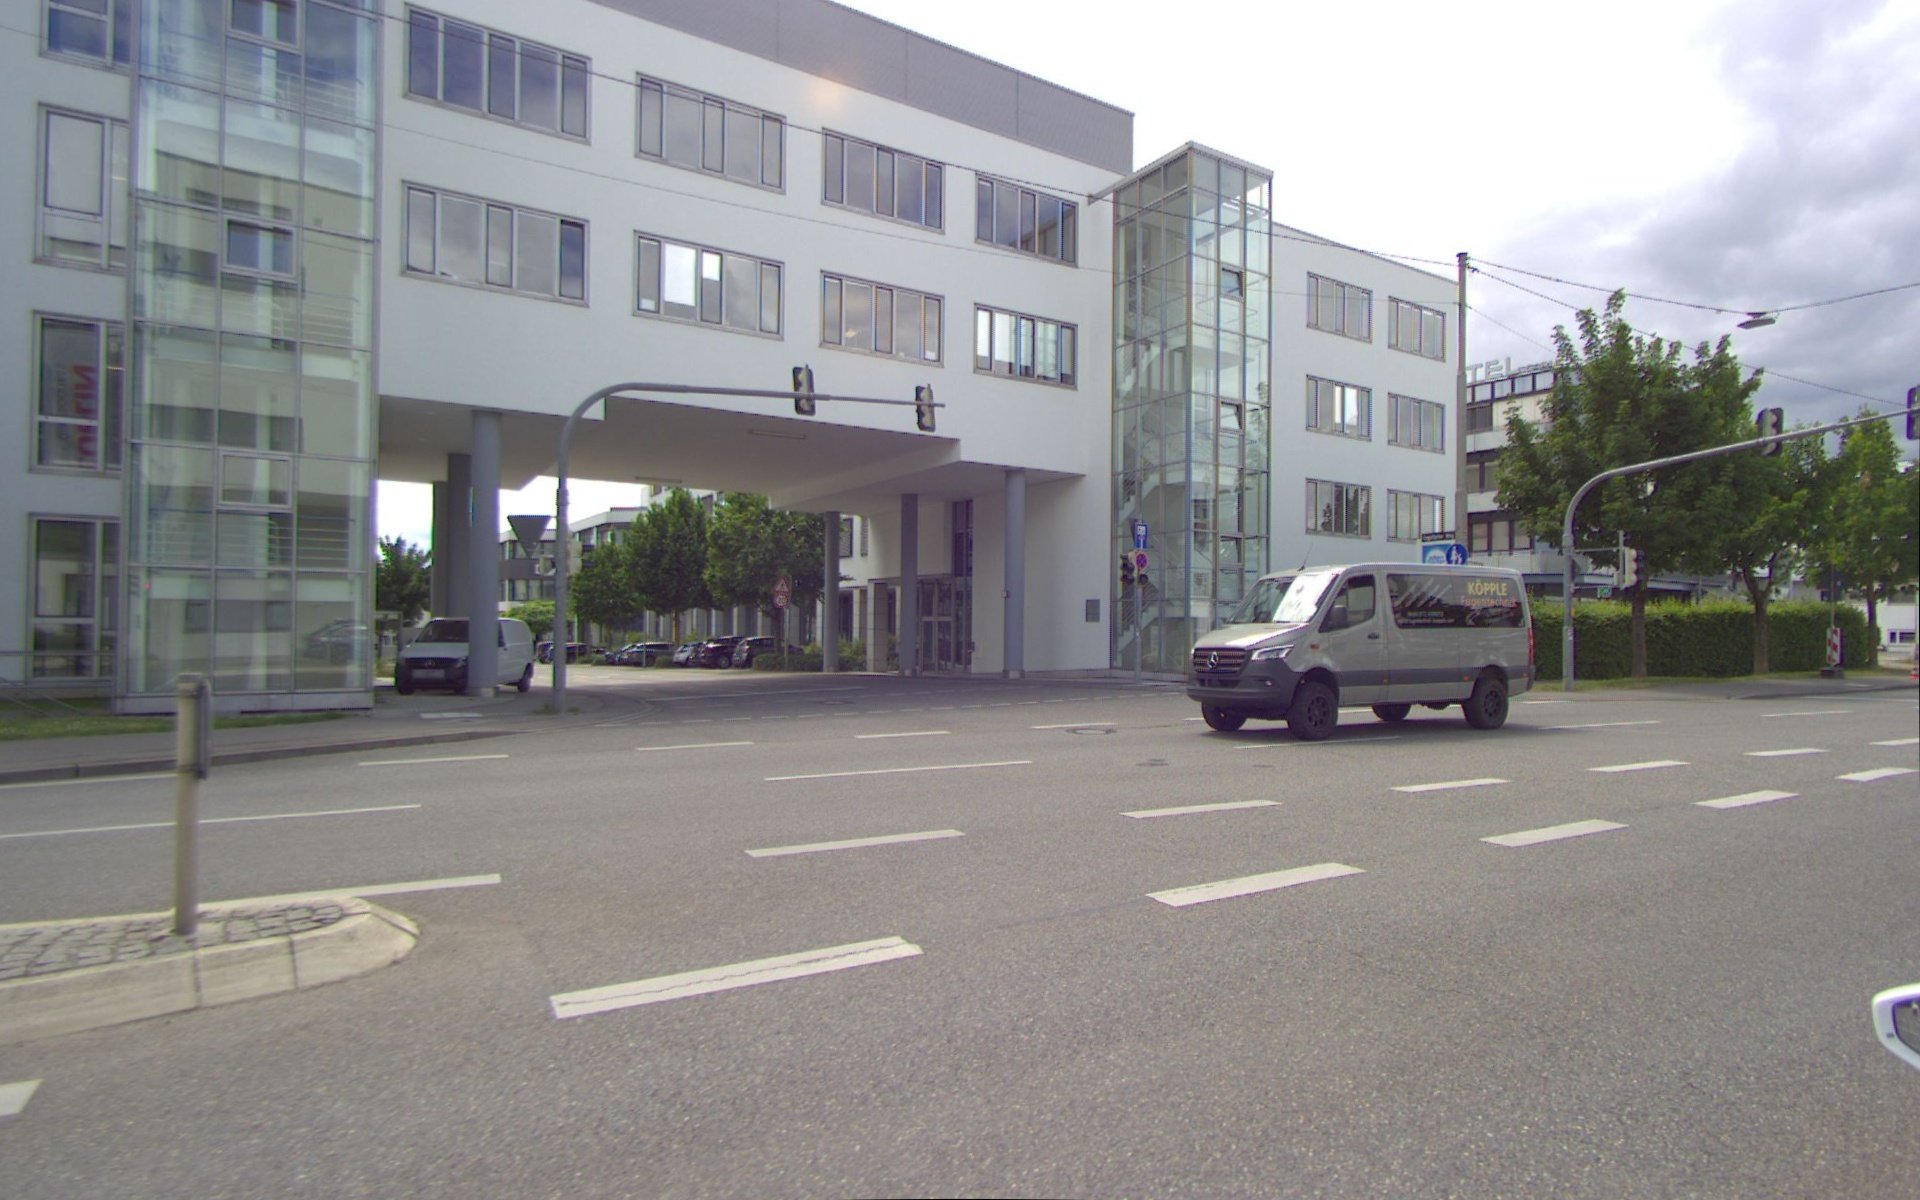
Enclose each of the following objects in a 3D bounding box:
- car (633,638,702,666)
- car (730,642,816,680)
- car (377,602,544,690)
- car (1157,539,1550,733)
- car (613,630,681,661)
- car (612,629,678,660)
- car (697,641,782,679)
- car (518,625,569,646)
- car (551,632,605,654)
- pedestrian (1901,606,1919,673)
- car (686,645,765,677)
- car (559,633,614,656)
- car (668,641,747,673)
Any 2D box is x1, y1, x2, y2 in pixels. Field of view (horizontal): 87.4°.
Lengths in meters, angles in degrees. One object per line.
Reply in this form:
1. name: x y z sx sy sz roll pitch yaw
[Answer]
1. car: -18.019 3.175 61.866 3.771 1.662 1.700 1 -2 -30
2. car: -9.070 2.919 48.776 3.780 1.713 1.779 1 -1 -30
3. car: -12.093 1.183 24.732 2.046 1.892 4.832 2 -4 -6
4. car: 6.061 0.565 15.305 5.994 2.504 2.135 1 -3 -27
5. car: -20.844 3.020 66.869 3.953 2.040 1.984 1 -3 -30
6. car: -21.628 3.059 68.988 3.953 2.040 1.984 1 -2 -30
7. car: -11.072 2.989 50.561 3.855 1.773 1.778 1 -1 -30
8. car: -36.894 3.182 89.025 3.897 1.685 1.856 2 0 -30
9. car: -31.588 3.532 82.998 3.897 1.685 1.856 2 0 -30
10. pedestrian: 29.979 1.235 31.187 0.794 2.040 0.726 2 1 13
11. car: -12.344 3.184 52.891 3.745 1.533 1.706 1 -1 -30
12. car: -30.160 3.620 81.173 3.897 1.685 1.856 2 0 -30
13. car: -14.364 3.238 57.150 3.952 1.731 1.985 1 -2 -30
